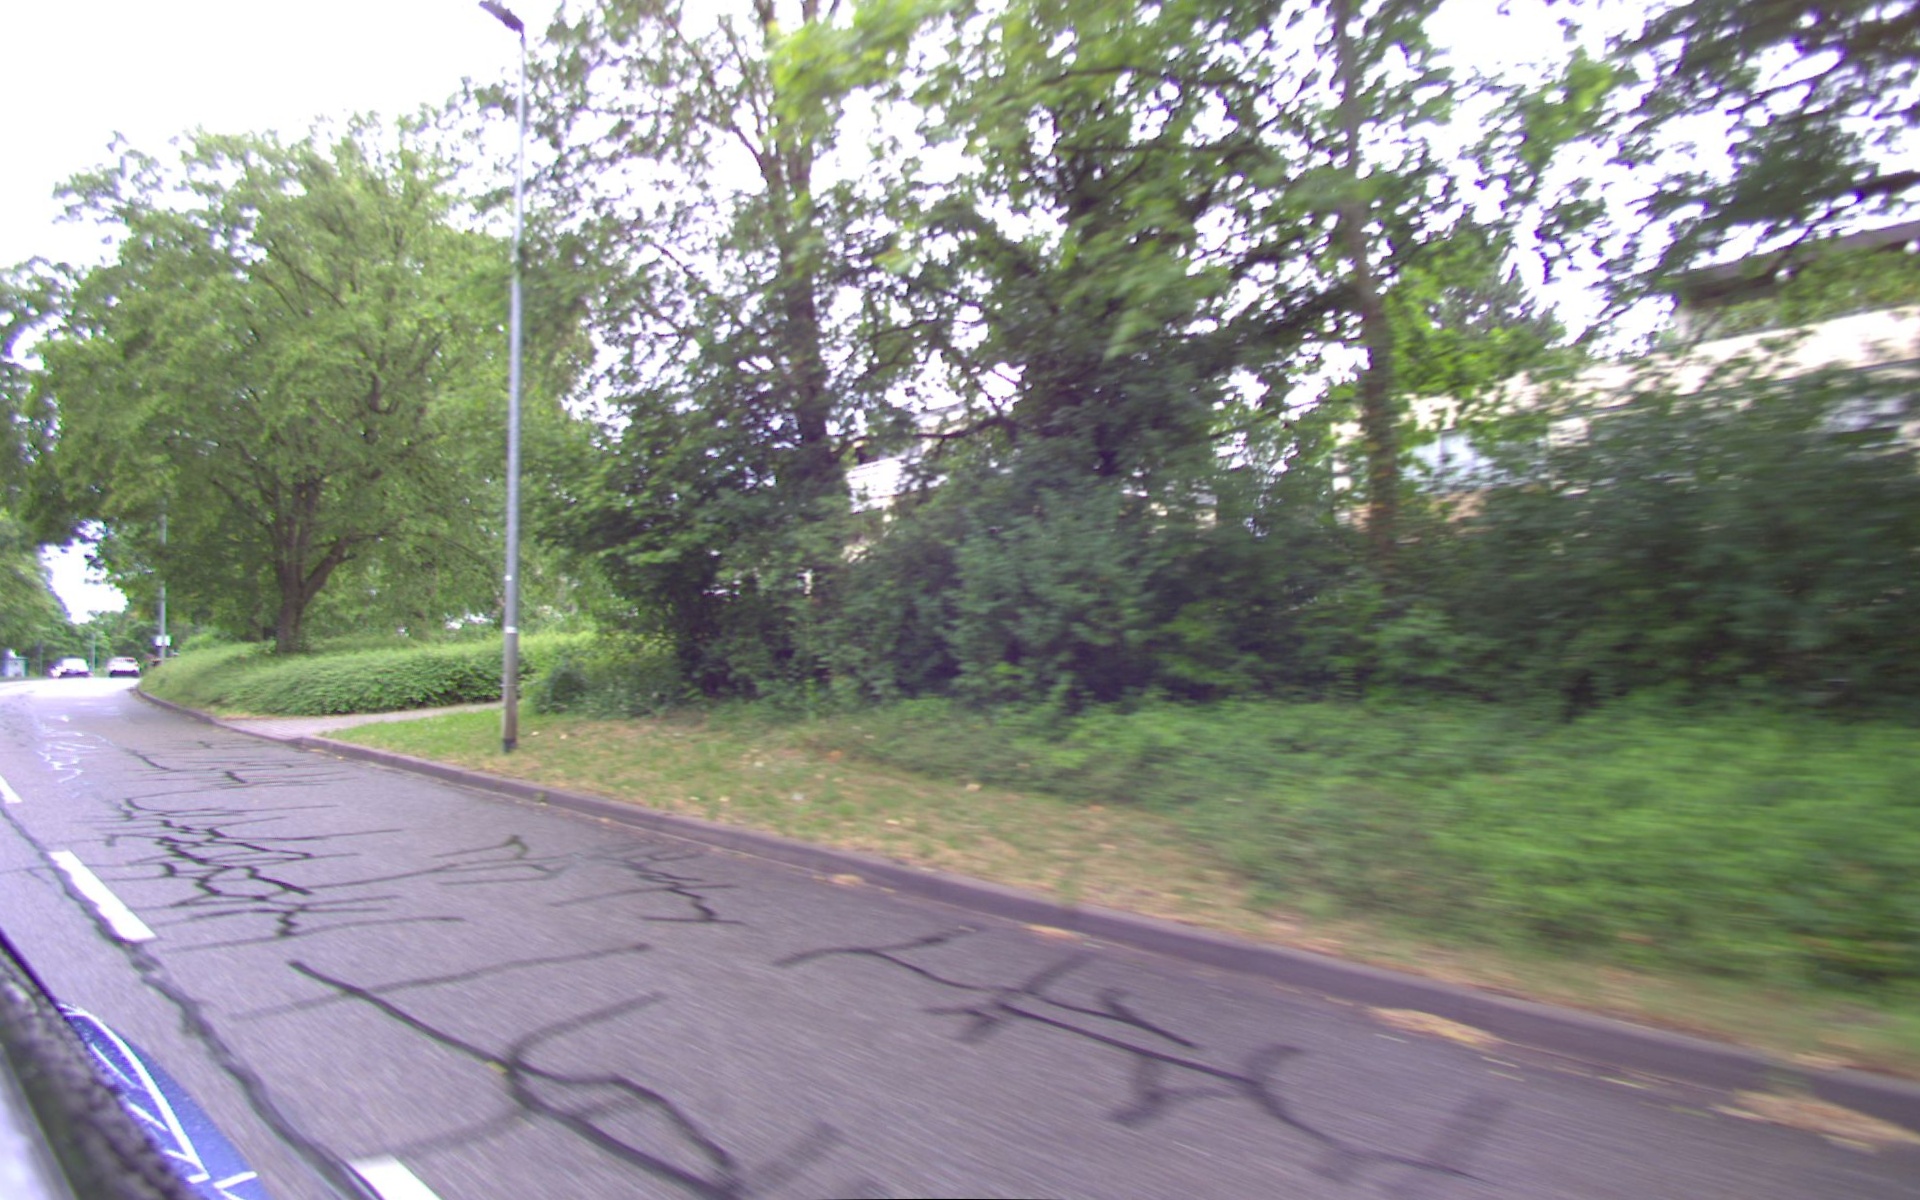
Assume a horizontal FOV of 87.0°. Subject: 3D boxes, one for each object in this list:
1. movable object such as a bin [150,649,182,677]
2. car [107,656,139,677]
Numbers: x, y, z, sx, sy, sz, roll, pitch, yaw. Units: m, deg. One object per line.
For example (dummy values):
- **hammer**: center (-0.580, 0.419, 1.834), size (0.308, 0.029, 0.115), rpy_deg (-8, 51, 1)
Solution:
- **movable object such as a bin**: center (-34.320, 2.725, 43.742), size (1.024, 1.113, 0.968), rpy_deg (-1, -2, -37)
- **car**: center (-61.695, 4.892, 74.644), size (1.644, 1.489, 3.739), rpy_deg (4, -5, -37)
